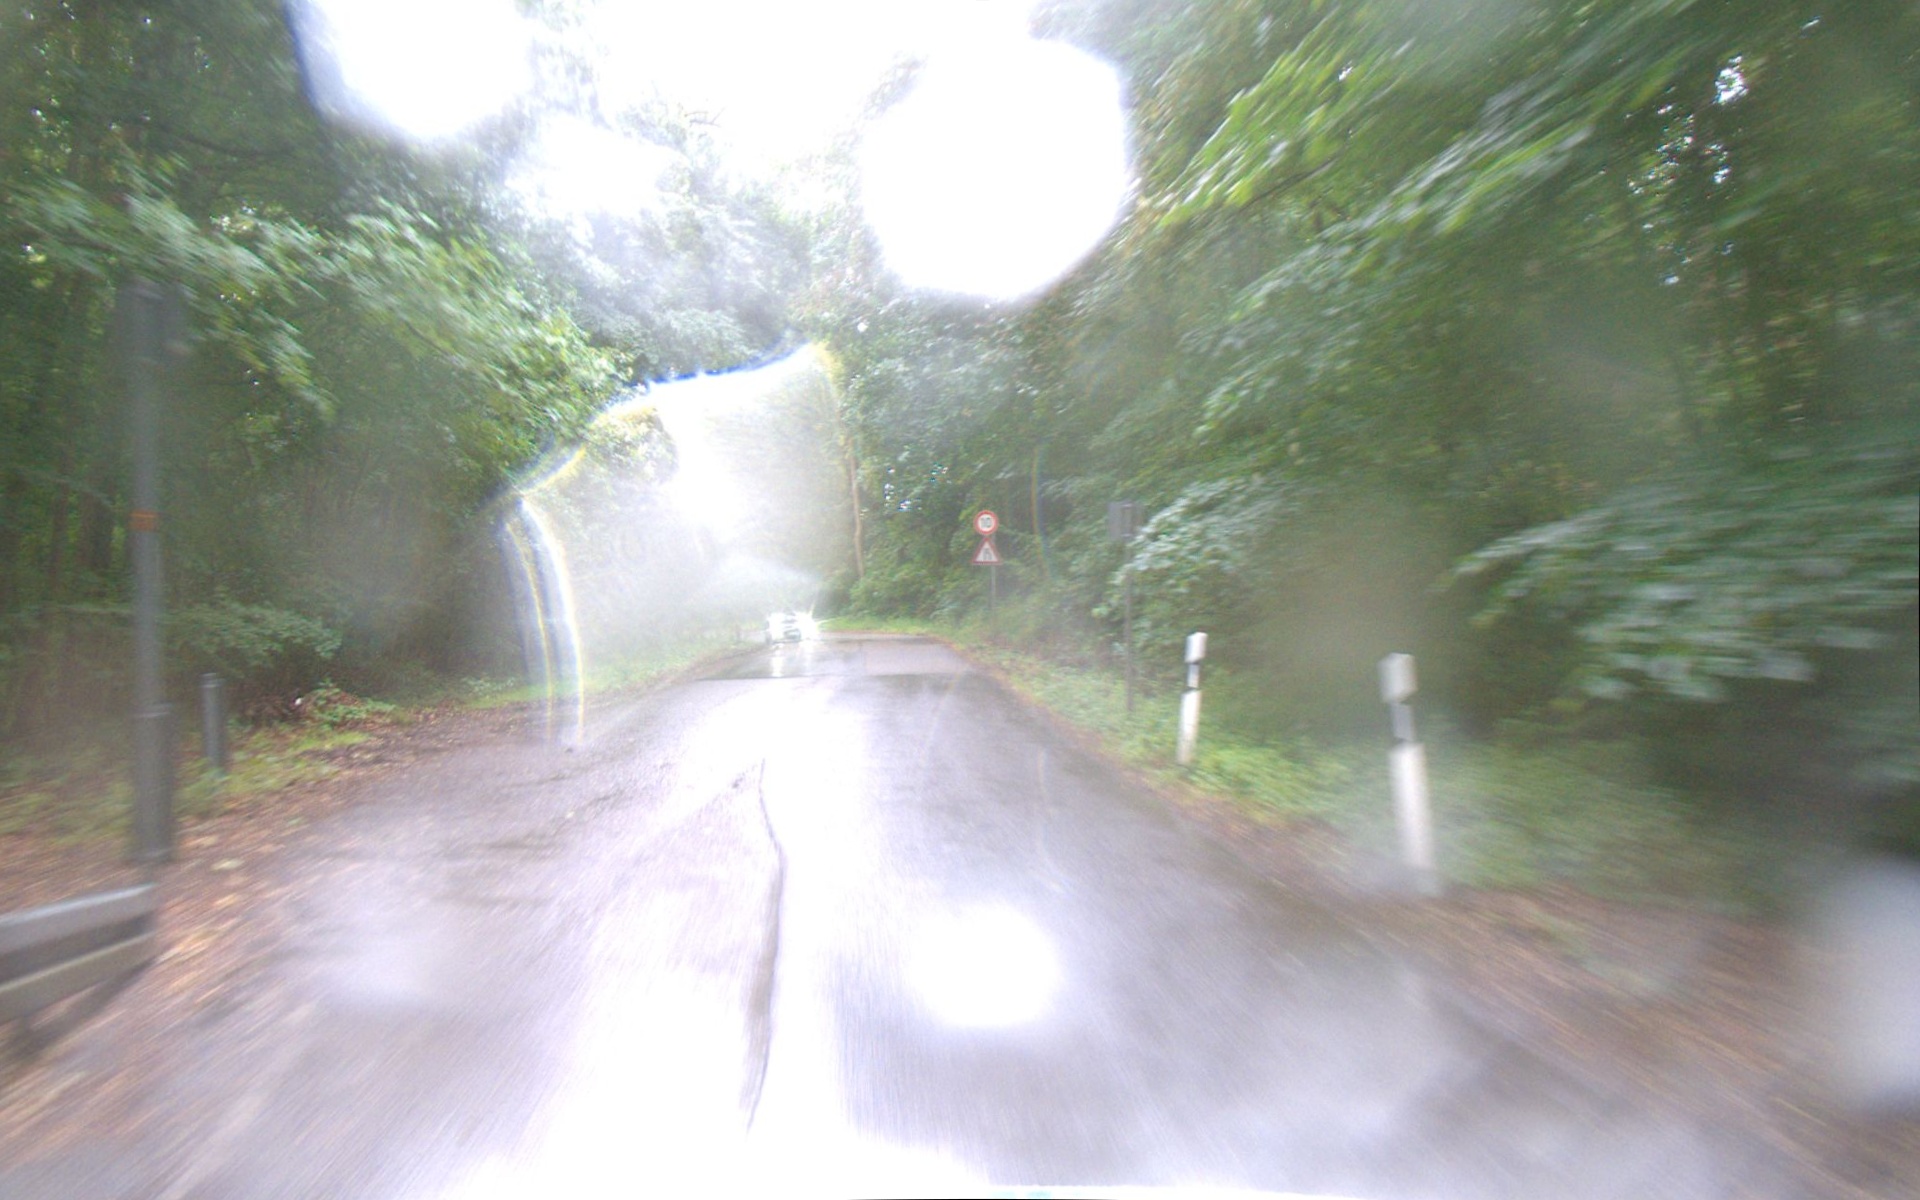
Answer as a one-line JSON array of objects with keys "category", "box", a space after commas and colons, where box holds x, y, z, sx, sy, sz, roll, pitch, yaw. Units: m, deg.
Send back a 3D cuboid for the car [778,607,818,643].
[{"category": "car", "box": [-7.358, 1.116, 75.307, 1.681, 1.501, 3.886, -2, 0, -5]}]
